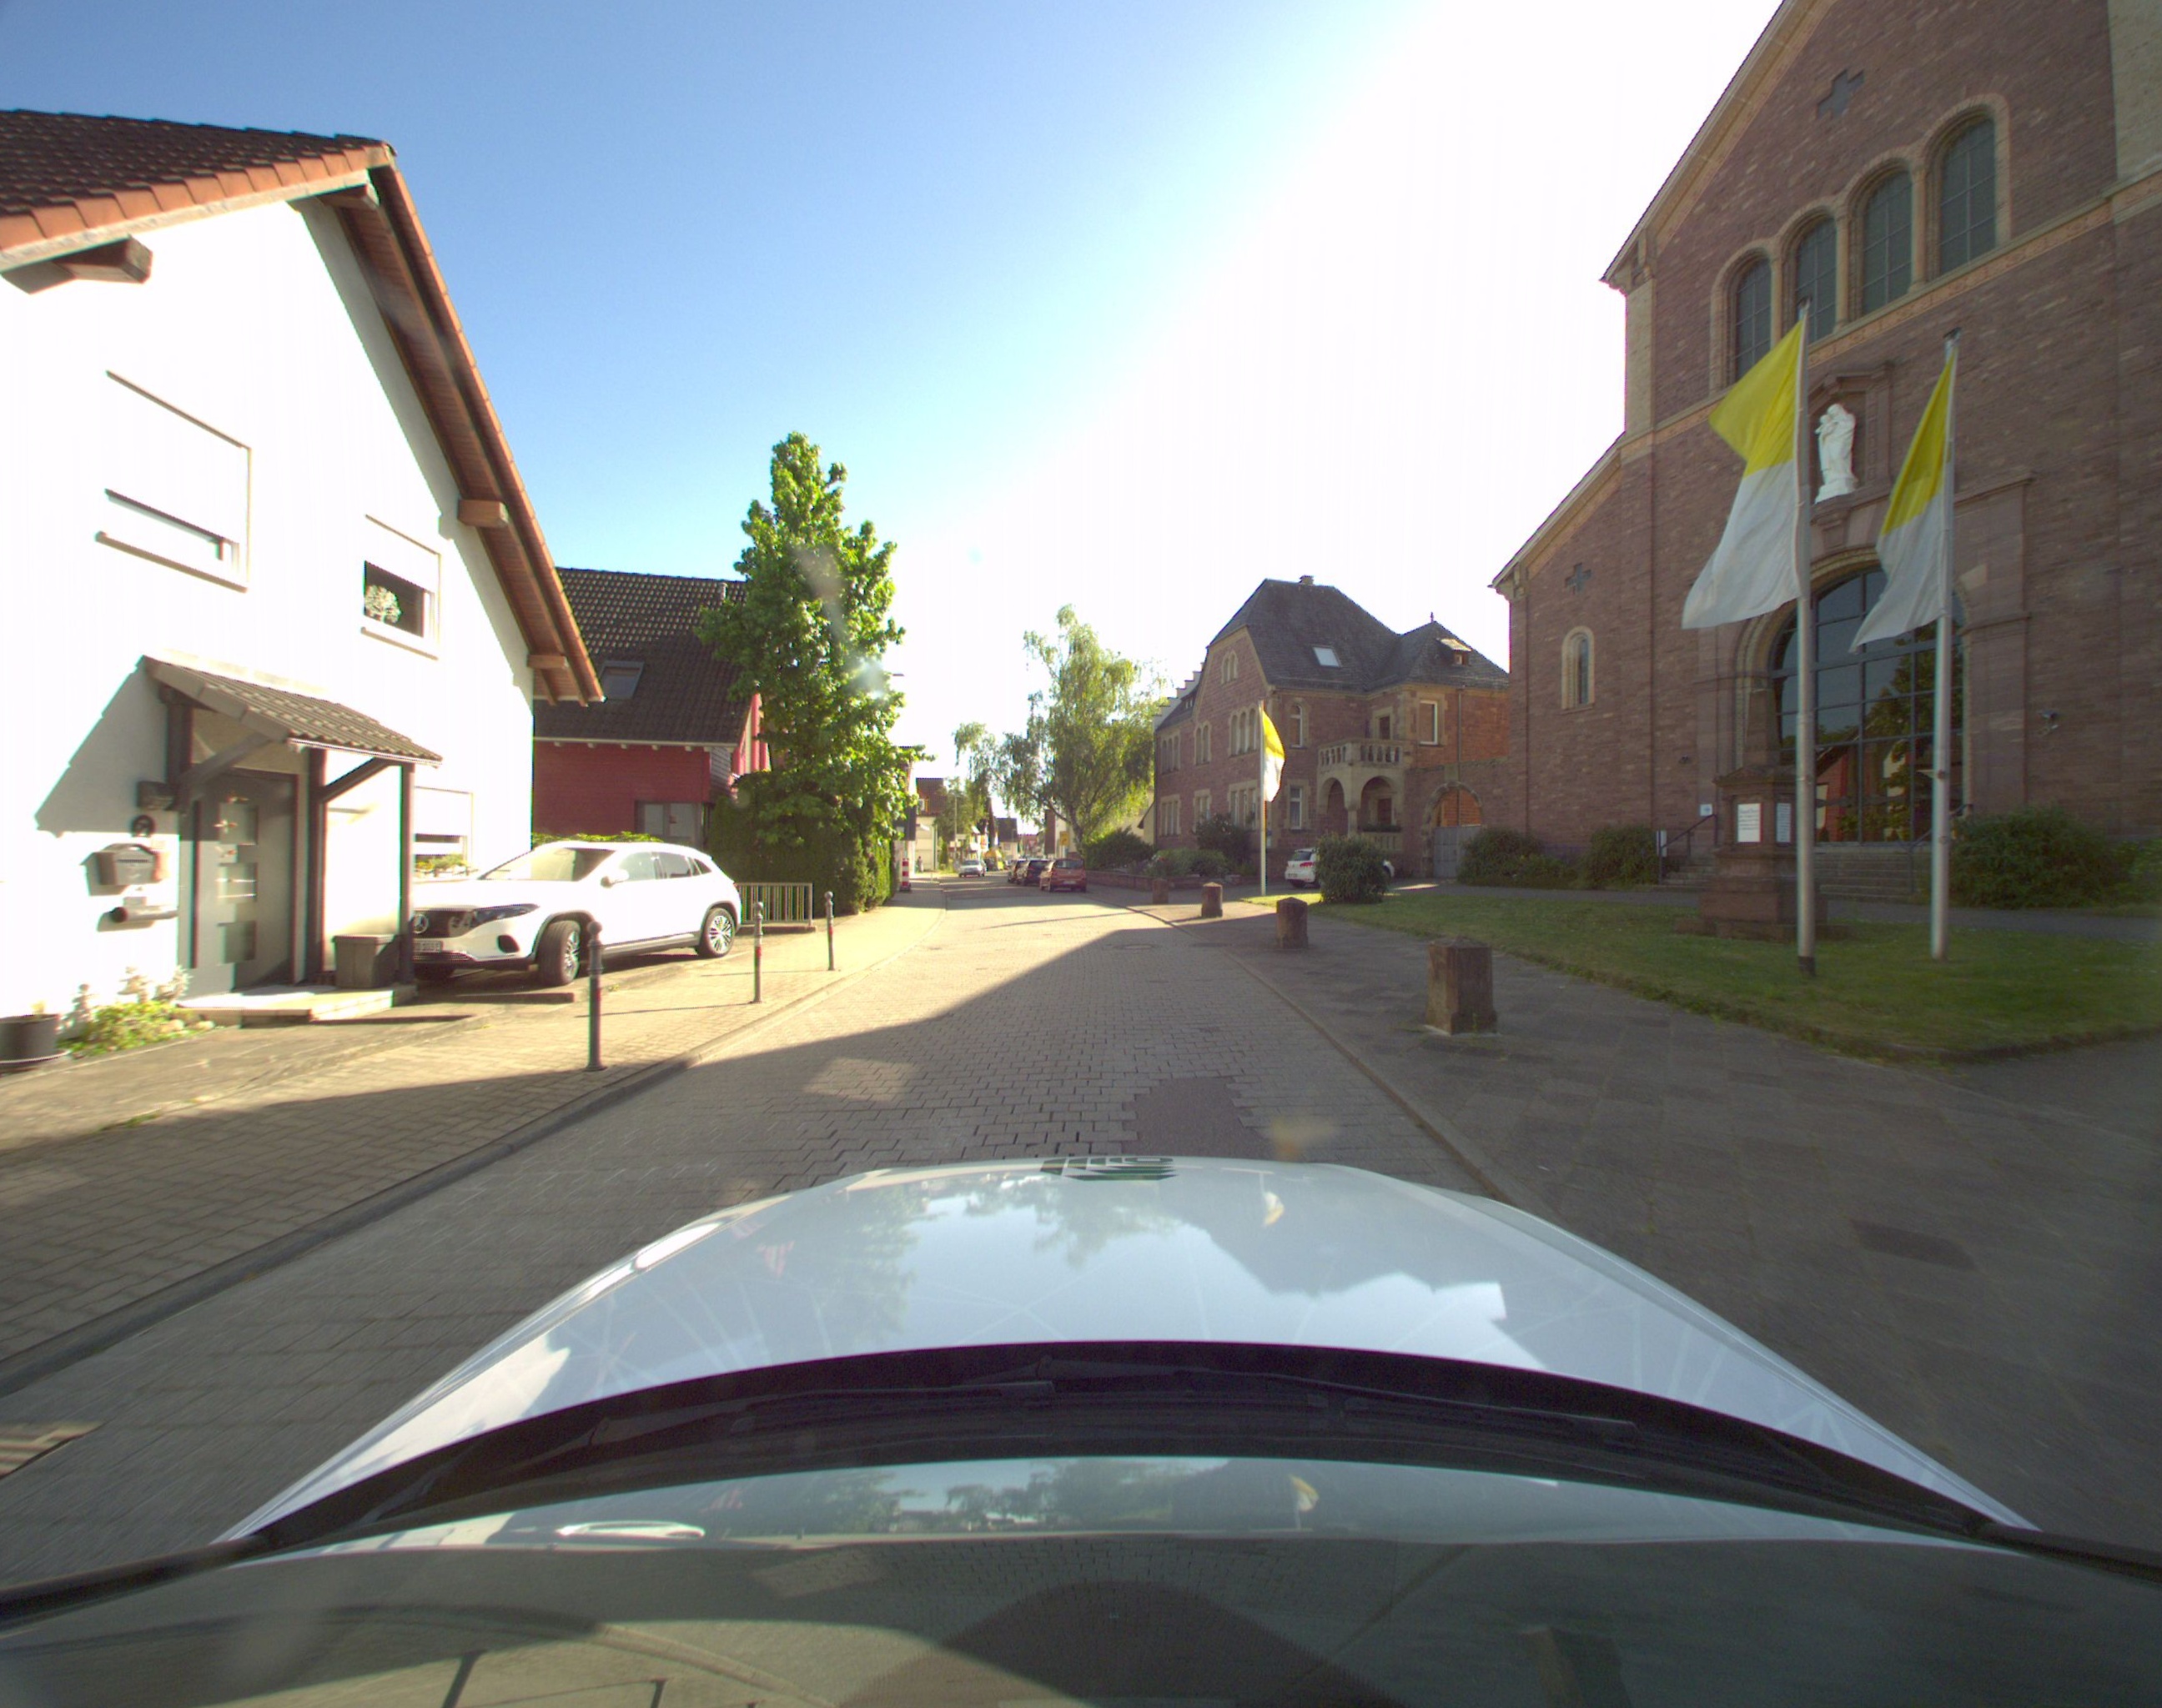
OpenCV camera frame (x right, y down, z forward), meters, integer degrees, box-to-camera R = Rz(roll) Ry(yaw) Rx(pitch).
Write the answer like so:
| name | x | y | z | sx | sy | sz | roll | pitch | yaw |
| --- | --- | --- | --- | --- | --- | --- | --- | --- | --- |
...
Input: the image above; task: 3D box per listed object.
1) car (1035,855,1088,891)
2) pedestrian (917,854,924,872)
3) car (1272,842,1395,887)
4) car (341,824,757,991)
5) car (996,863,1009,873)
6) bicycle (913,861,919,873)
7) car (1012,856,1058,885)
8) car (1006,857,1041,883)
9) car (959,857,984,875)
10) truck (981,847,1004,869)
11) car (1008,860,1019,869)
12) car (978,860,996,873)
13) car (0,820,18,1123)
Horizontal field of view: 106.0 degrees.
| name | x | y | z | sx | sy | sz | roll | pitch | yaw |
| --- | --- | --- | --- | --- | --- | --- | --- | --- | --- |
| car | -0.921 | 0.795 | 35.937 | 1.649 | 1.479 | 3.917 | 2 | 0 | -12 |
| pedestrian | -15.497 | 0.913 | 78.558 | 0.482 | 1.693 | 0.556 | 2 | -3 | -5 |
| car | 9.303 | 0.385 | 30.079 | 3.908 | 1.496 | 1.893 | -2 | -1 | -18 |
| car | -6.266 | 0.553 | 10.392 | 1.806 | 1.596 | 4.457 | 2 | -1 | 10 |
| car | -11.397 | 2.017 | 118.921 | 1.641 | 1.433 | 3.611 | 2 | -1 | -2 |
| bicycle | -15.896 | 1.247 | 78.324 | 0.423 | 1.052 | 1.377 | 1 | -2 | -8 |
| car | -2.546 | 0.866 | 44.205 | 1.809 | 1.436 | 4.268 | 2 | 0 | -12 |
| car | -3.484 | 0.915 | 48.824 | 1.806 | 1.436 | 4.273 | 2 | 0 | -8 |
| car | -8.756 | 0.921 | 65.503 | 1.667 | 1.402 | 3.888 | 0 | -1 | -3 |
| truck | -11.899 | 0.584 | 109.917 | 2.260 | 2.869 | 5.781 | 1 | -2 | 0 |
| car | -10.893 | 1.720 | 132.226 | 1.584 | 1.443 | 3.611 | 2 | -1 | -2 |
| car | -12.021 | 1.648 | 104.313 | 1.800 | 1.622 | 3.880 | 1 | -2 | 0 |
| car | -7.472 | 0.529 | 2.990 | 3.985 | 1.589 | 1.994 | 3 | 0 | -9 |
